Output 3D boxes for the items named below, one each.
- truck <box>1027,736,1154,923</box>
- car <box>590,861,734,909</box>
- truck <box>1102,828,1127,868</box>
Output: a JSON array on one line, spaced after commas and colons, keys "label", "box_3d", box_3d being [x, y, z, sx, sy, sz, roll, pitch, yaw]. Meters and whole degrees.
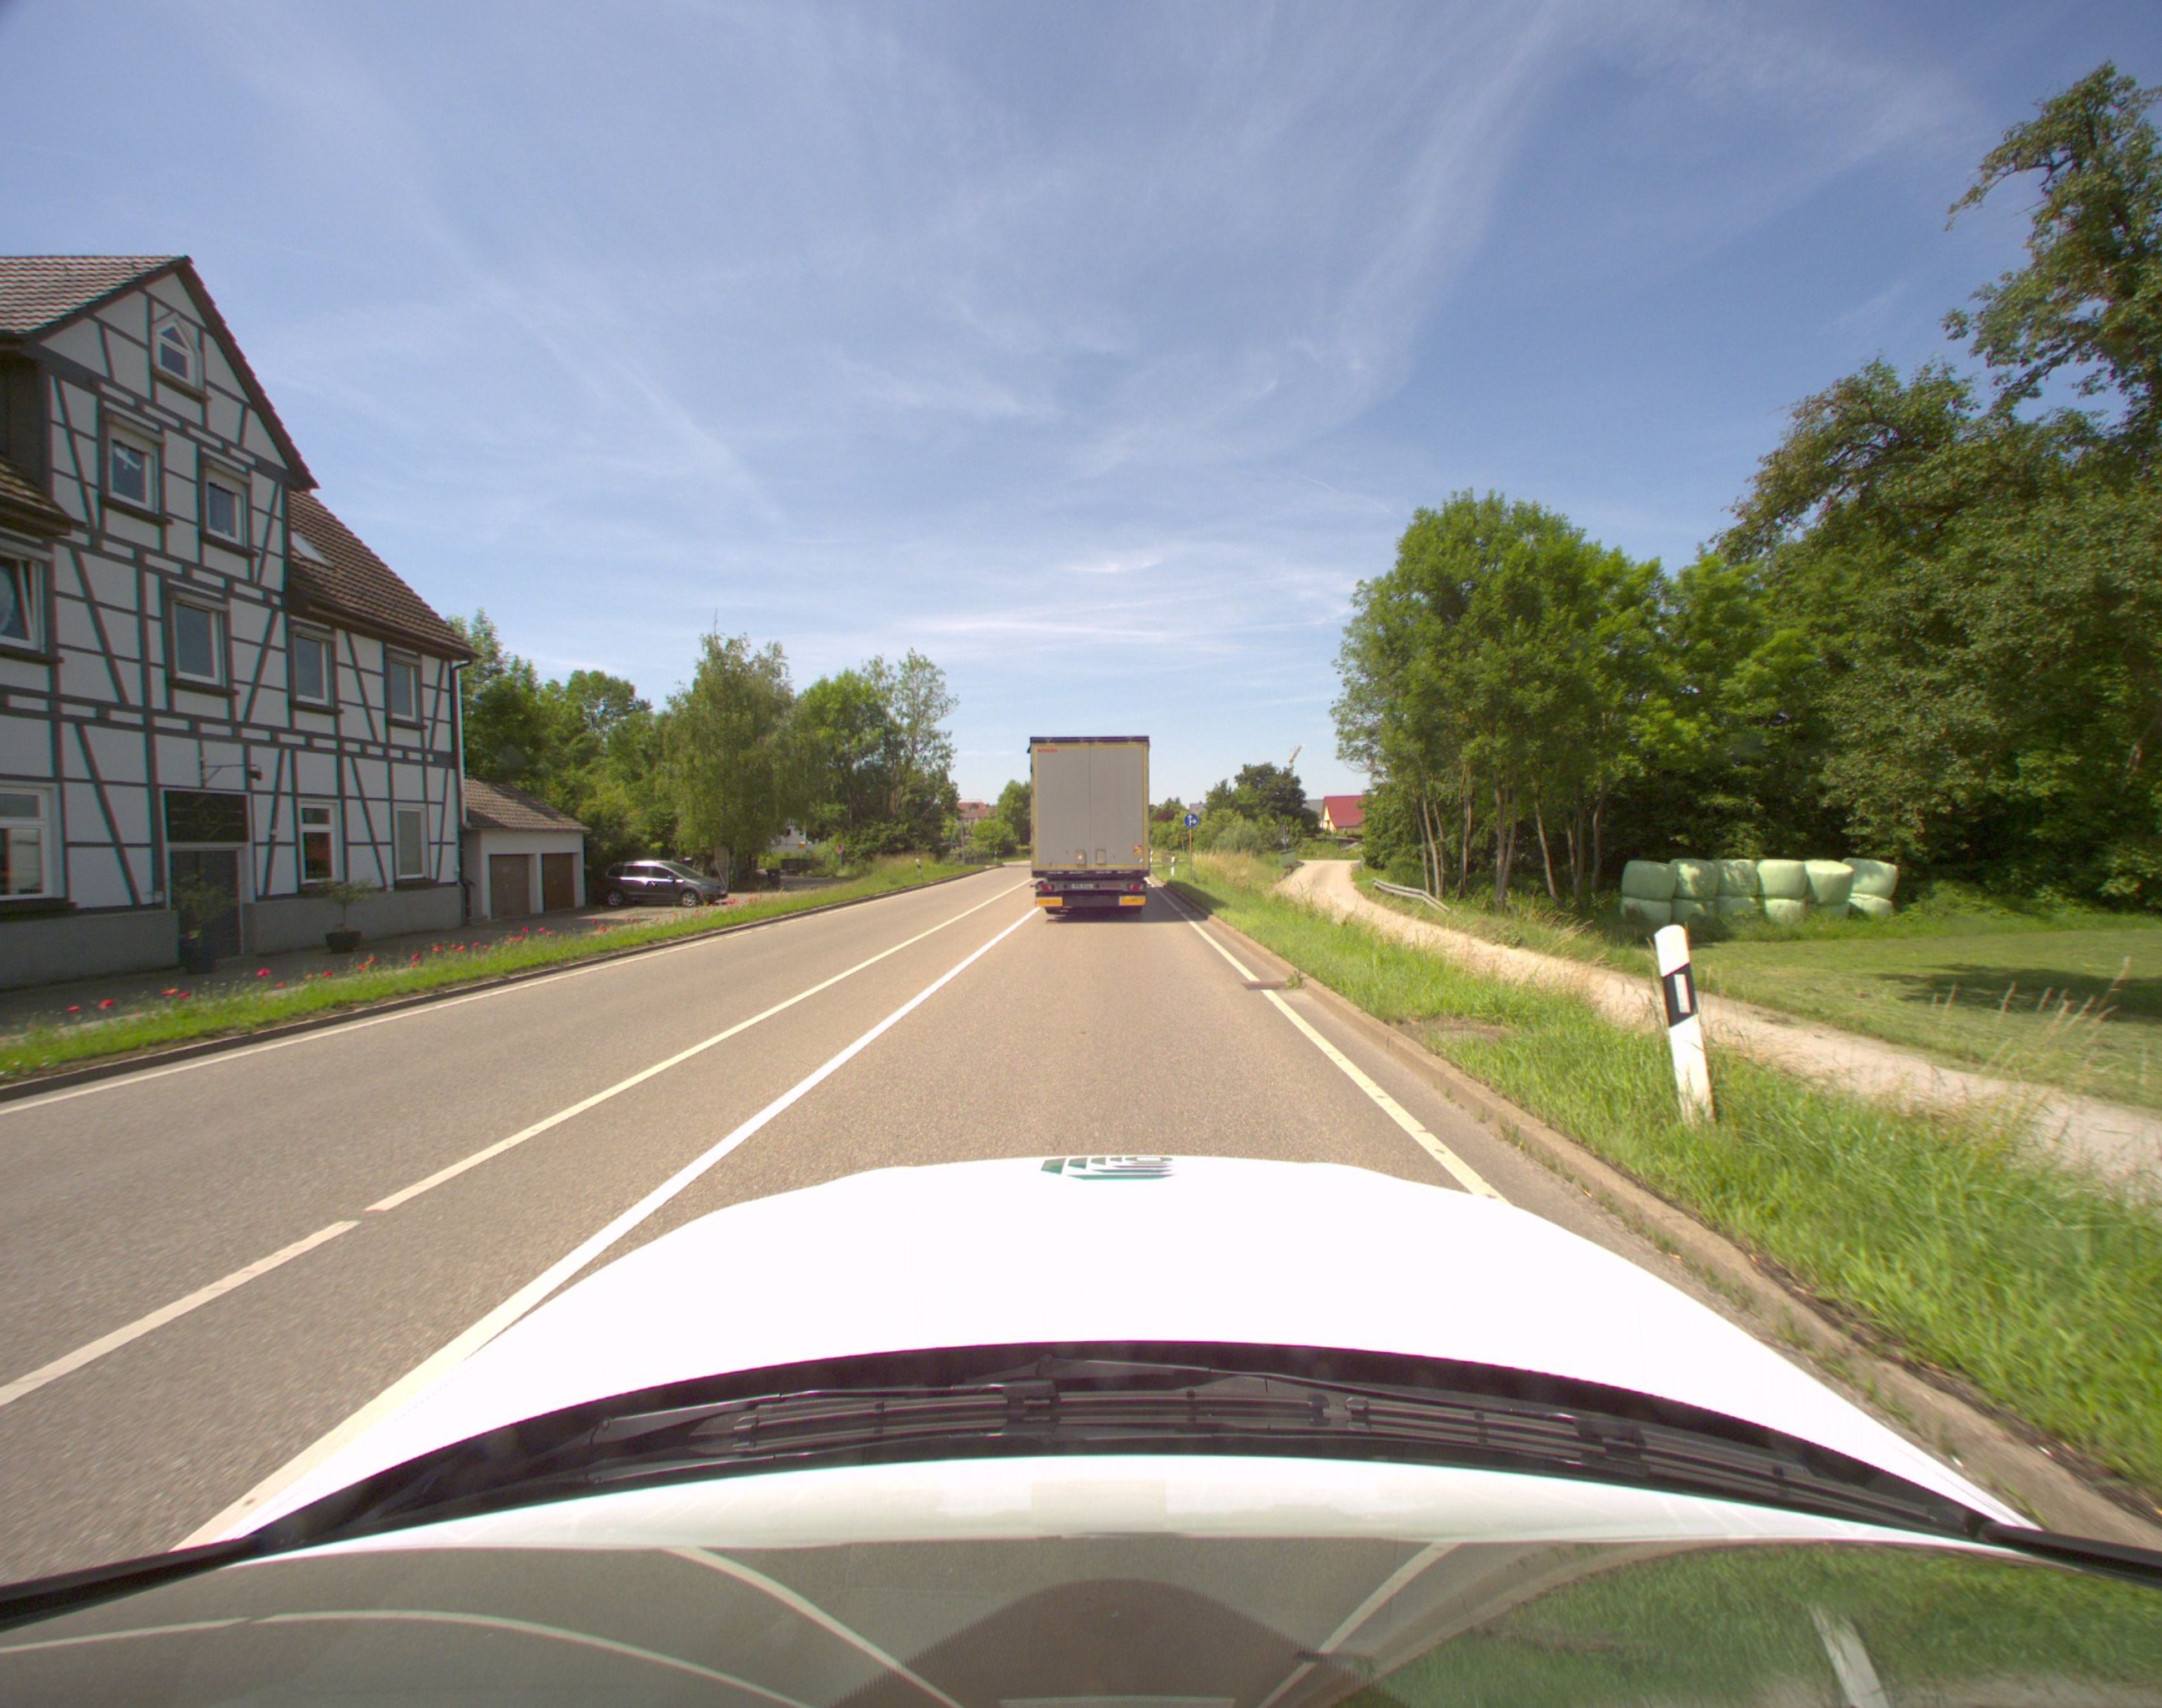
[{"label": "truck", "box_3d": [0.284, -0.523, 21.636, 2.638, 3.917, 8.826, -1, 0, 1]}, {"label": "car", "box_3d": [-16.453, 1.192, 32.148, 4.651, 1.720, 1.860, 0, 2, -3]}, {"label": "truck", "box_3d": [4.001, -0.686, 99.173, 2.637, 4.601, 10.816, 0, 0, 1]}]
